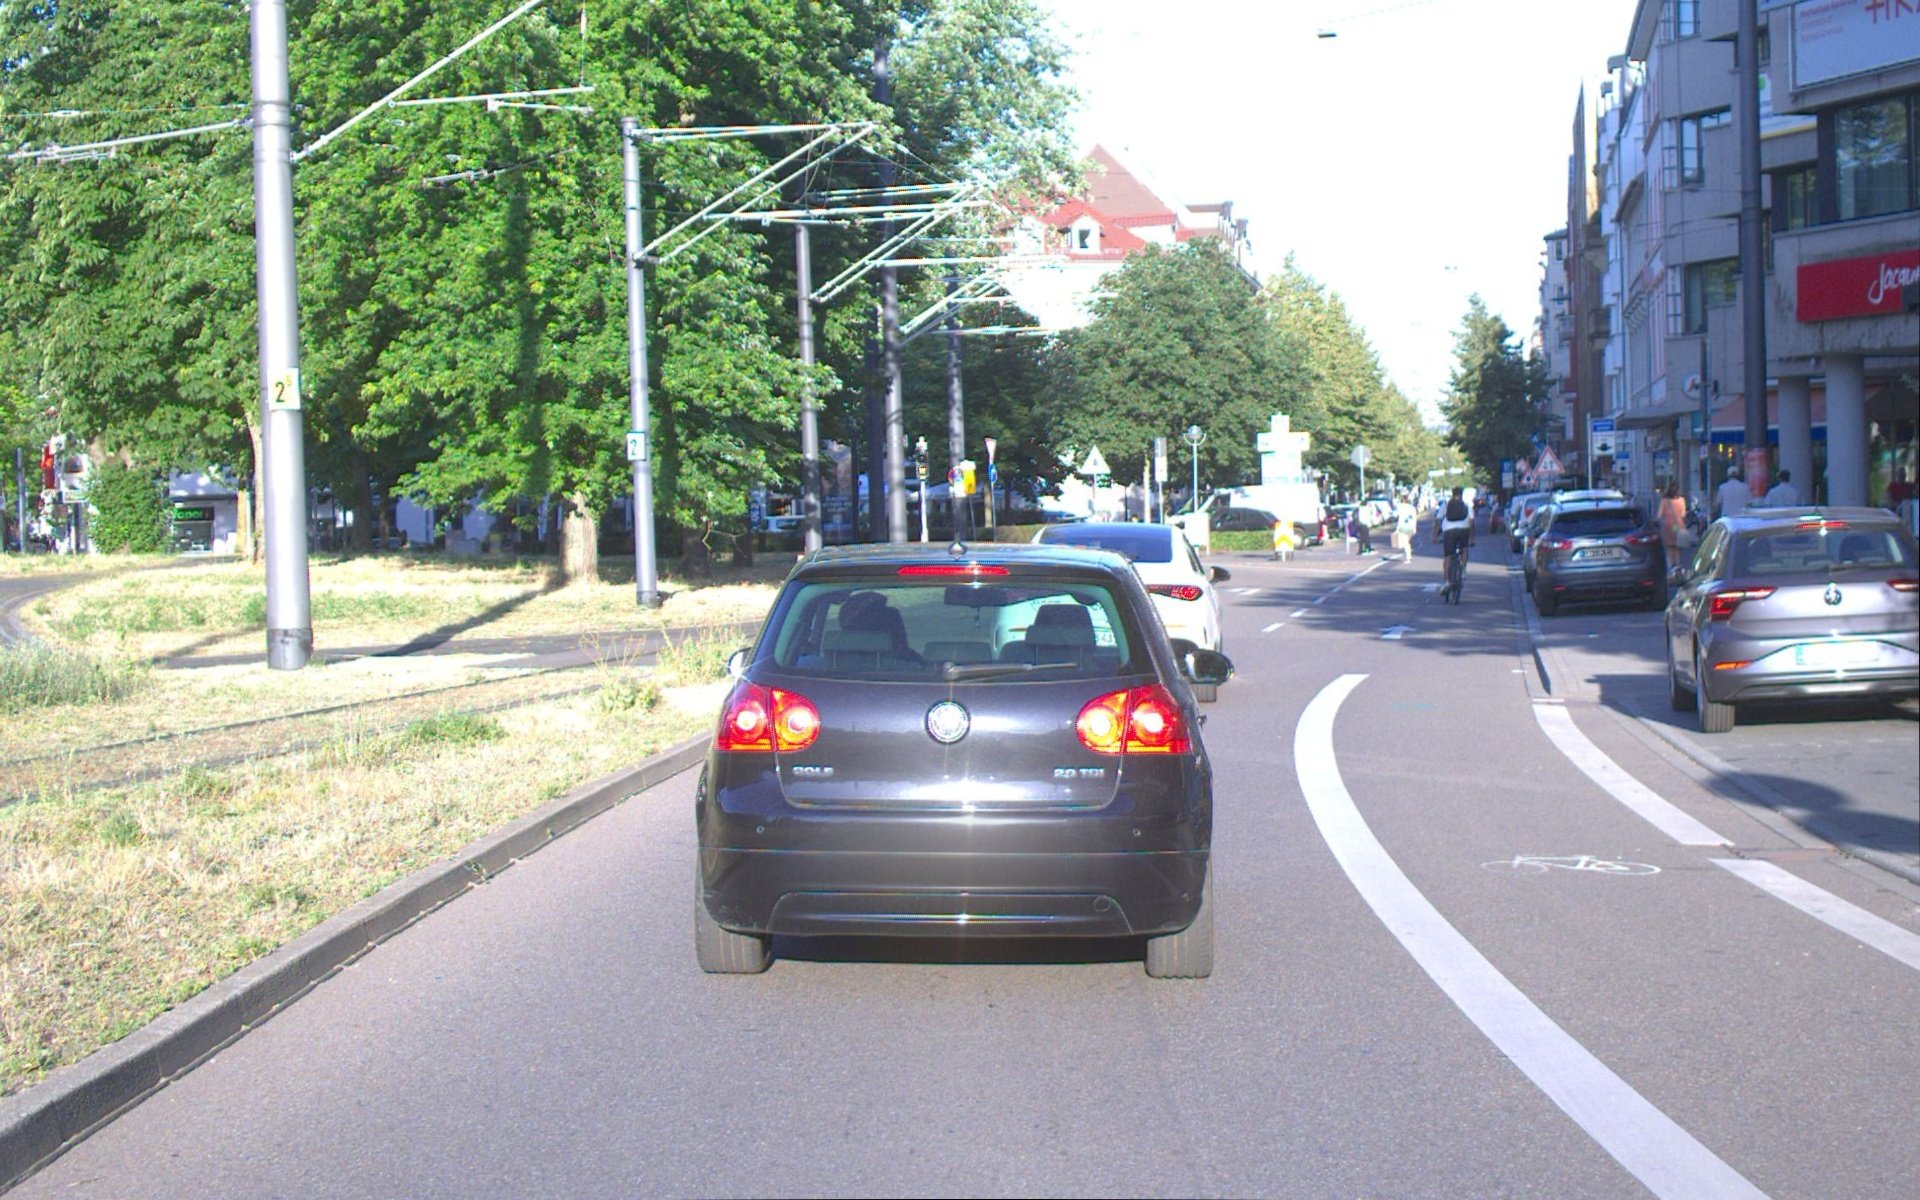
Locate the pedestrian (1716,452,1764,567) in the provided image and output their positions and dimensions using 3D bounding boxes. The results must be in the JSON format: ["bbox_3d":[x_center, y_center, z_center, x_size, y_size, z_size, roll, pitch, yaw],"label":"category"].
[{"bbox_3d":[12.873,-1.494,56.747,0.622,1.851,0.661,-4,1,10],"label":"pedestrian"}]

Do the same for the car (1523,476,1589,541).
[{"bbox_3d":[17.547,-2.697,101.369,1.735,1.794,3.915,-2,1,8],"label":"car"}]

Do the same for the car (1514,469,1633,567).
[{"bbox_3d":[11.709,-1.581,65.824,1.868,1.708,4.504,-3,1,7],"label":"car"}]

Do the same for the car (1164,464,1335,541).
[{"bbox_3d":[10.125,-3.404,120.282,5.510,2.585,2.155,-1,1,-17],"label":"car"}]

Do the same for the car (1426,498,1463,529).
[{"bbox_3d":[25.910,-4.619,183.761,1.907,1.546,3.999,-1,2,8],"label":"car"}]

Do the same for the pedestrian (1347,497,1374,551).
[{"bbox_3d":[11.601,-2.193,99.537,0.736,1.549,0.632,-1,1,5],"label":"pedestrian"}]

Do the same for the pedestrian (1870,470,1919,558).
[{"bbox_3d":[18.176,-1.672,66.496,0.989,1.667,0.641,-2,1,10],"label":"pedestrian"}]

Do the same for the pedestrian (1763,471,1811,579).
[{"bbox_3d":[13.623,-1.235,56.642,0.622,1.734,0.661,-4,1,10],"label":"pedestrian"}]

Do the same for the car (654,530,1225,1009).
[{"bbox_3d":[0.088,0.496,12.797,1.748,1.456,4.103,-1,2,5],"label":"car"}]

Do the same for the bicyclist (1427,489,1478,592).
[{"bbox_3d":[7.750,-0.939,54.090,0.777,1.612,1.025,0,1,8],"label":"bicyclist"}]

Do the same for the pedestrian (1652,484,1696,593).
[{"bbox_3d":[11.851,-1.024,57.103,0.579,1.754,0.661,-4,1,10],"label":"pedestrian"}]

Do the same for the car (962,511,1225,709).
[{"bbox_3d":[1.195,0.028,28.842,1.865,1.436,4.196,-2,2,6],"label":"car"}]

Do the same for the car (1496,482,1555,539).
[{"bbox_3d":[19.595,-3.094,119.088,1.926,1.835,4.016,-2,1,10],"label":"car"}]

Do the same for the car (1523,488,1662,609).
[{"bbox_3d":[9.049,-0.771,49.421,1.782,1.551,4.233,-3,1,9],"label":"car"}]

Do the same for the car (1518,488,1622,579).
[{"bbox_3d":[10.682,-1.186,60.060,1.663,1.436,3.853,-3,1,11],"label":"car"}]

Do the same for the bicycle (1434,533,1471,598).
[{"bbox_3d":[7.768,-0.552,54.208,0.579,0.984,1.935,0,1,8],"label":"bicycle"}]

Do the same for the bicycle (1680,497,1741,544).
[{"bbox_3d":[19.595,-2.075,89.743,0.514,1.115,1.523,-5,1,-35],"label":"bicycle"}]

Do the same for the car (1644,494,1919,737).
[{"bbox_3d":[5.843,0.045,24.093,1.728,1.467,3.898,-3,1,8],"label":"car"}]

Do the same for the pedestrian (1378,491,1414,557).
[{"bbox_3d":[11.404,-1.996,89.901,0.859,1.700,0.941,0,1,3],"label":"pedestrian"}]

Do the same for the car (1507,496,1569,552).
[{"bbox_3d":[17.905,-2.360,106.637,1.735,1.611,3.915,-2,1,8],"label":"car"}]
